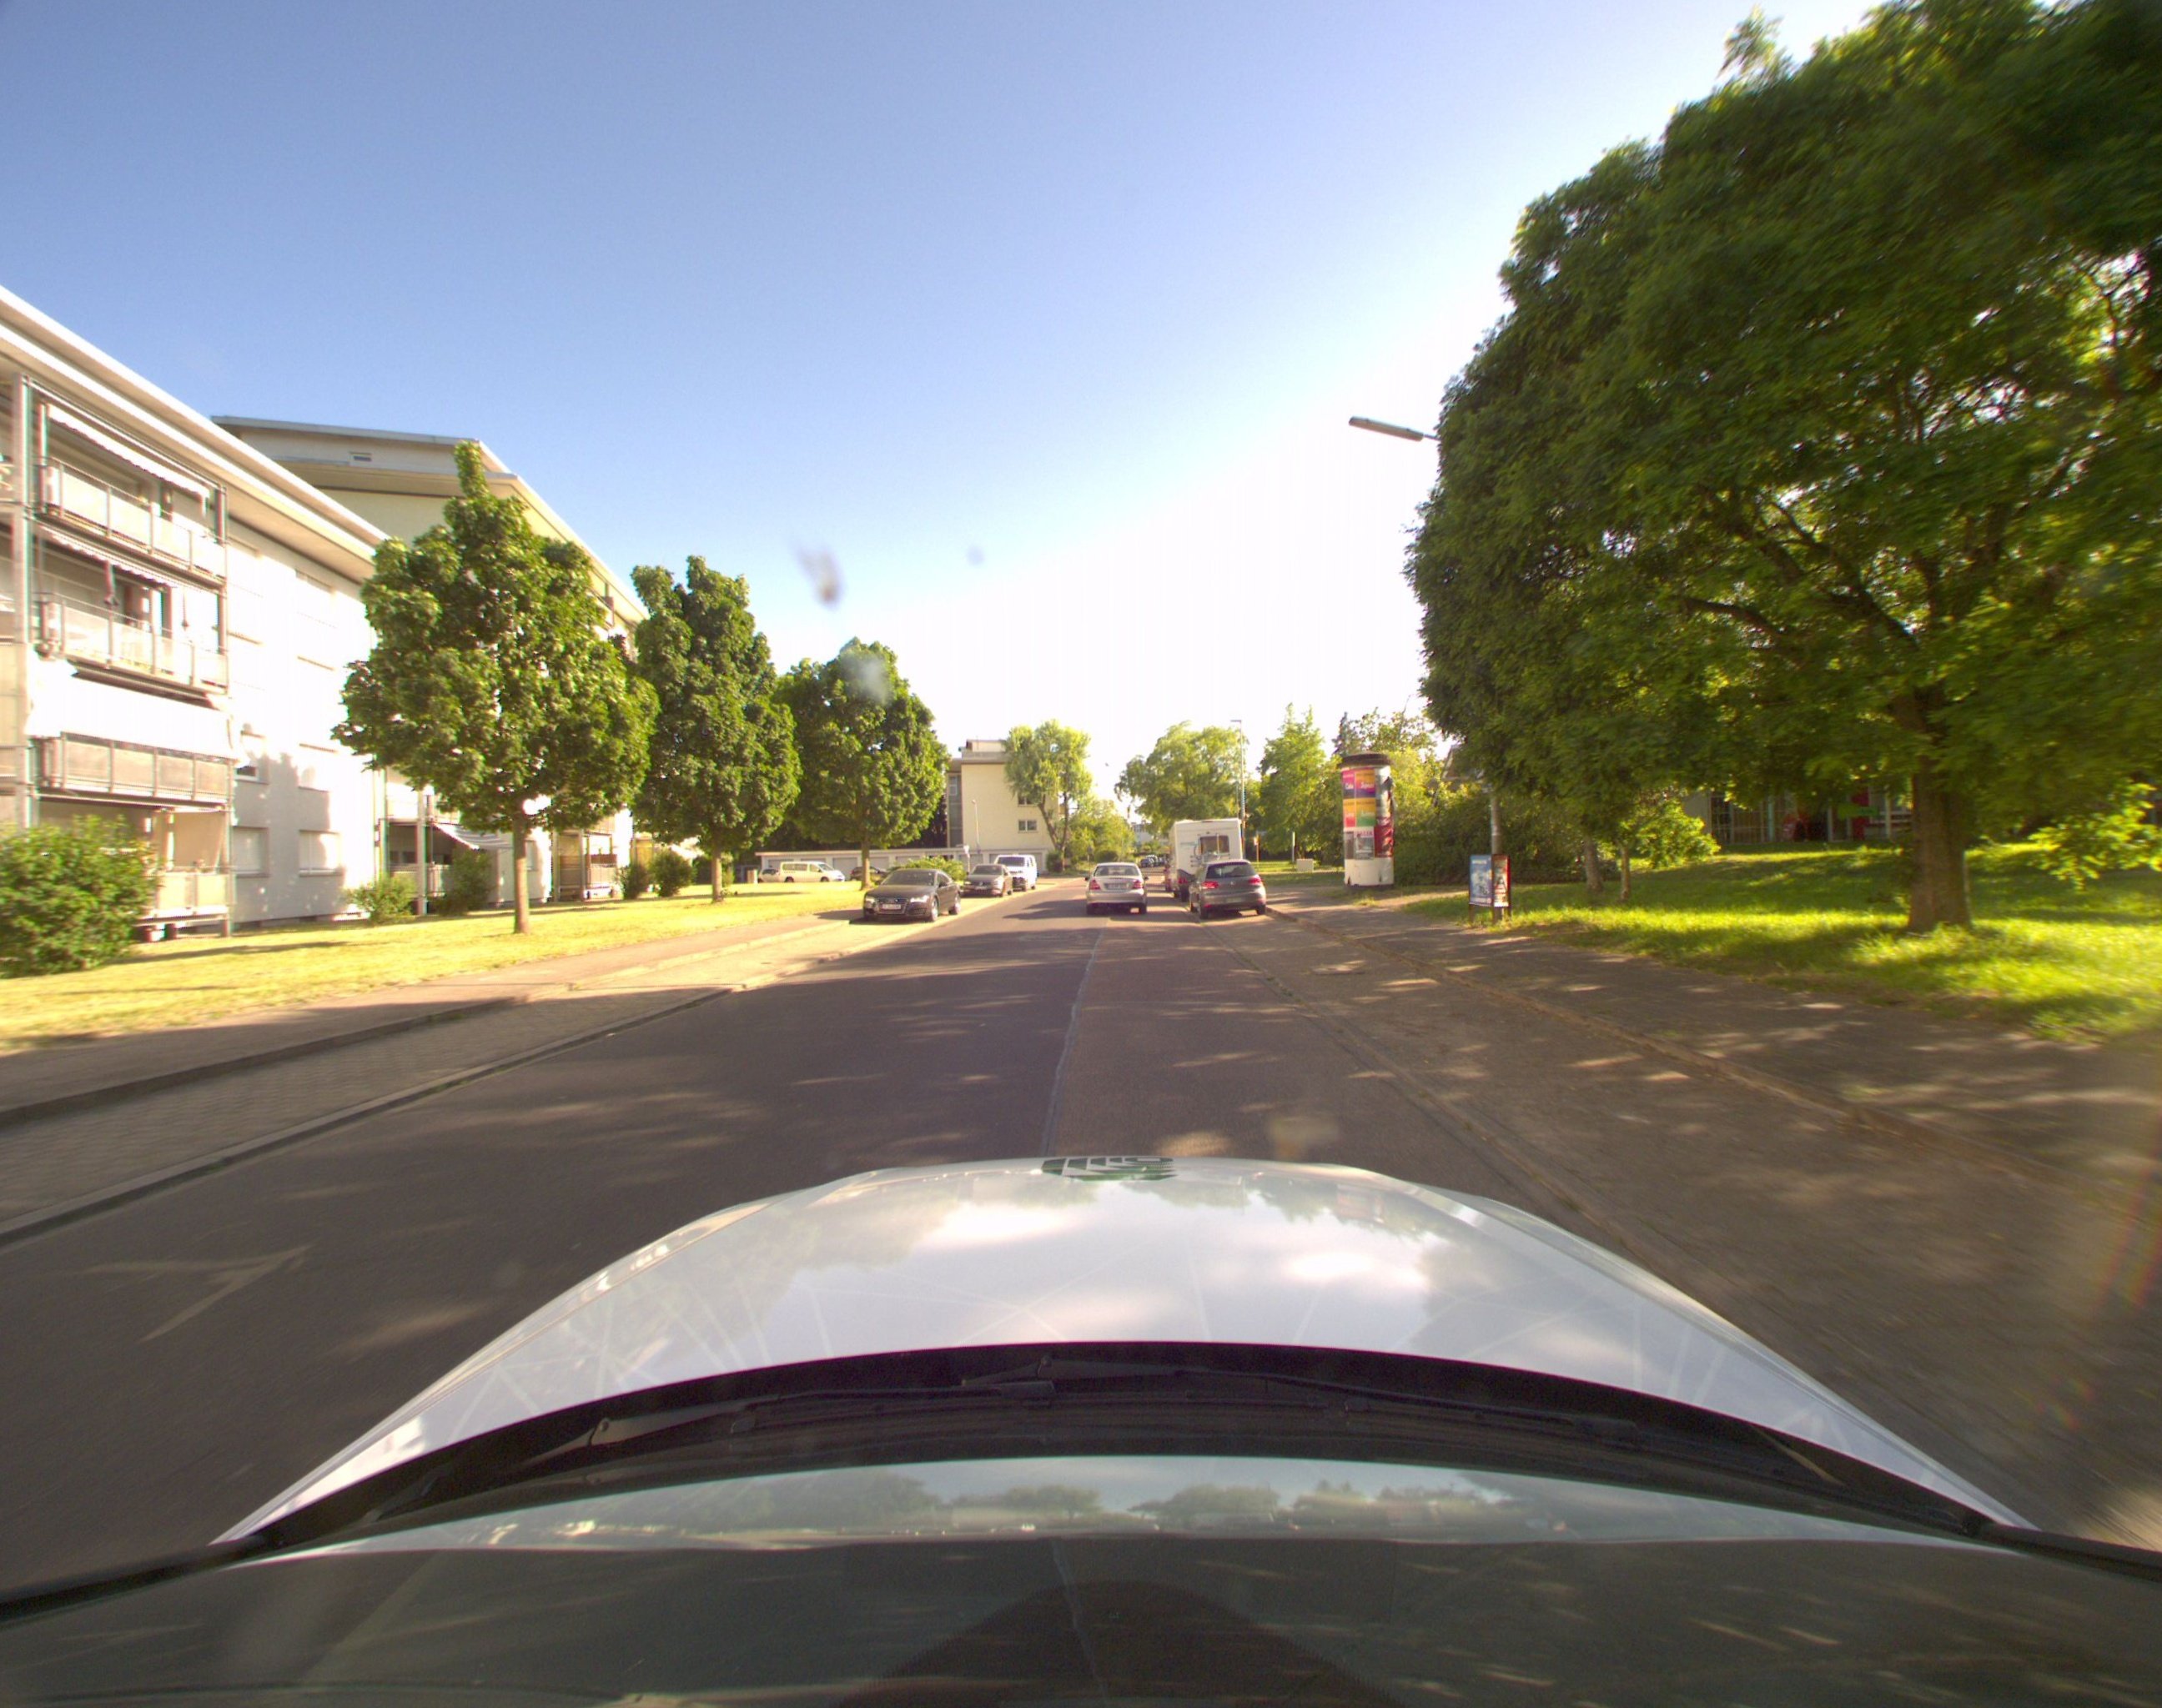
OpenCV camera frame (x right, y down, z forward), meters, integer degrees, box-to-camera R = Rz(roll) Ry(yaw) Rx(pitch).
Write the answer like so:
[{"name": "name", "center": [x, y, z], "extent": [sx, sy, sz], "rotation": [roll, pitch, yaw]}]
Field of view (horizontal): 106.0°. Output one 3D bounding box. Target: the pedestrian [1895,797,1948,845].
[{"name": "pedestrian", "center": [28.677, -1.112, 27.809], "extent": [0.847, 1.576, 1.096], "rotation": [-2, -1, 23]}]

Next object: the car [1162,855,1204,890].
[{"name": "car", "center": [4.798, 0.848, 38.683], "extent": [1.684, 1.474, 4.004], "rotation": [-2, -1, 4]}]

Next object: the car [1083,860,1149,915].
[{"name": "car", "center": [1.060, 0.917, 23.417], "extent": [1.725, 1.434, 3.442], "rotation": [-1, -1, 4]}]

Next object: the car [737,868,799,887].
[{"name": "car", "center": [-26.820, 2.008, 69.806], "extent": [4.422, 1.461, 2.002], "rotation": [-2, 0, 4]}]

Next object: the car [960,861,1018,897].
[{"name": "car", "center": [-4.044, 1.092, 36.466], "extent": [1.825, 1.518, 4.226], "rotation": [0, -1, 4]}]

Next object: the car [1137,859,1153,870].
[{"name": "car", "center": [10.107, 1.660, 127.688], "extent": [1.901, 1.490, 3.849], "rotation": [-4, -1, 11]}]

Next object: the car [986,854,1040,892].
[{"name": "car", "center": [-3.517, 0.969, 42.951], "extent": [2.005, 1.886, 5.197], "rotation": [0, -1, 5]}]

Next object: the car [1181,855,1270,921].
[{"name": "car", "center": [3.905, 0.861, 22.729], "extent": [1.714, 1.524, 4.430], "rotation": [-5, 0, 2]}]

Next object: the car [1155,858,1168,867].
[{"name": "car", "center": [15.056, 1.623, 152.497], "extent": [1.738, 1.521, 4.207], "rotation": [-3, -1, 13]}]

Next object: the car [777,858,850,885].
[{"name": "car", "center": [-21.755, 1.392, 66.223], "extent": [5.073, 1.951, 2.244], "rotation": [-2, 0, 11]}]

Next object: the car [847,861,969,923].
[{"name": "car", "center": [-4.714, 0.974, 23.100], "extent": [2.026, 1.493, 5.261], "rotation": [1, 0, 3]}]

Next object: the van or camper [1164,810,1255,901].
[{"name": "van or camper", "center": [4.516, 0.059, 29.835], "extent": [2.486, 2.845, 6.856], "rotation": [-2, 0, 3]}]

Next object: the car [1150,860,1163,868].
[{"name": "car", "center": [13.484, 1.830, 146.078], "extent": [1.737, 1.330, 3.463], "rotation": [-4, -1, 14]}]

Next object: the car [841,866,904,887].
[{"name": "car", "center": [-16.694, 1.770, 65.301], "extent": [4.415, 1.461, 2.049], "rotation": [-2, 0, 10]}]
